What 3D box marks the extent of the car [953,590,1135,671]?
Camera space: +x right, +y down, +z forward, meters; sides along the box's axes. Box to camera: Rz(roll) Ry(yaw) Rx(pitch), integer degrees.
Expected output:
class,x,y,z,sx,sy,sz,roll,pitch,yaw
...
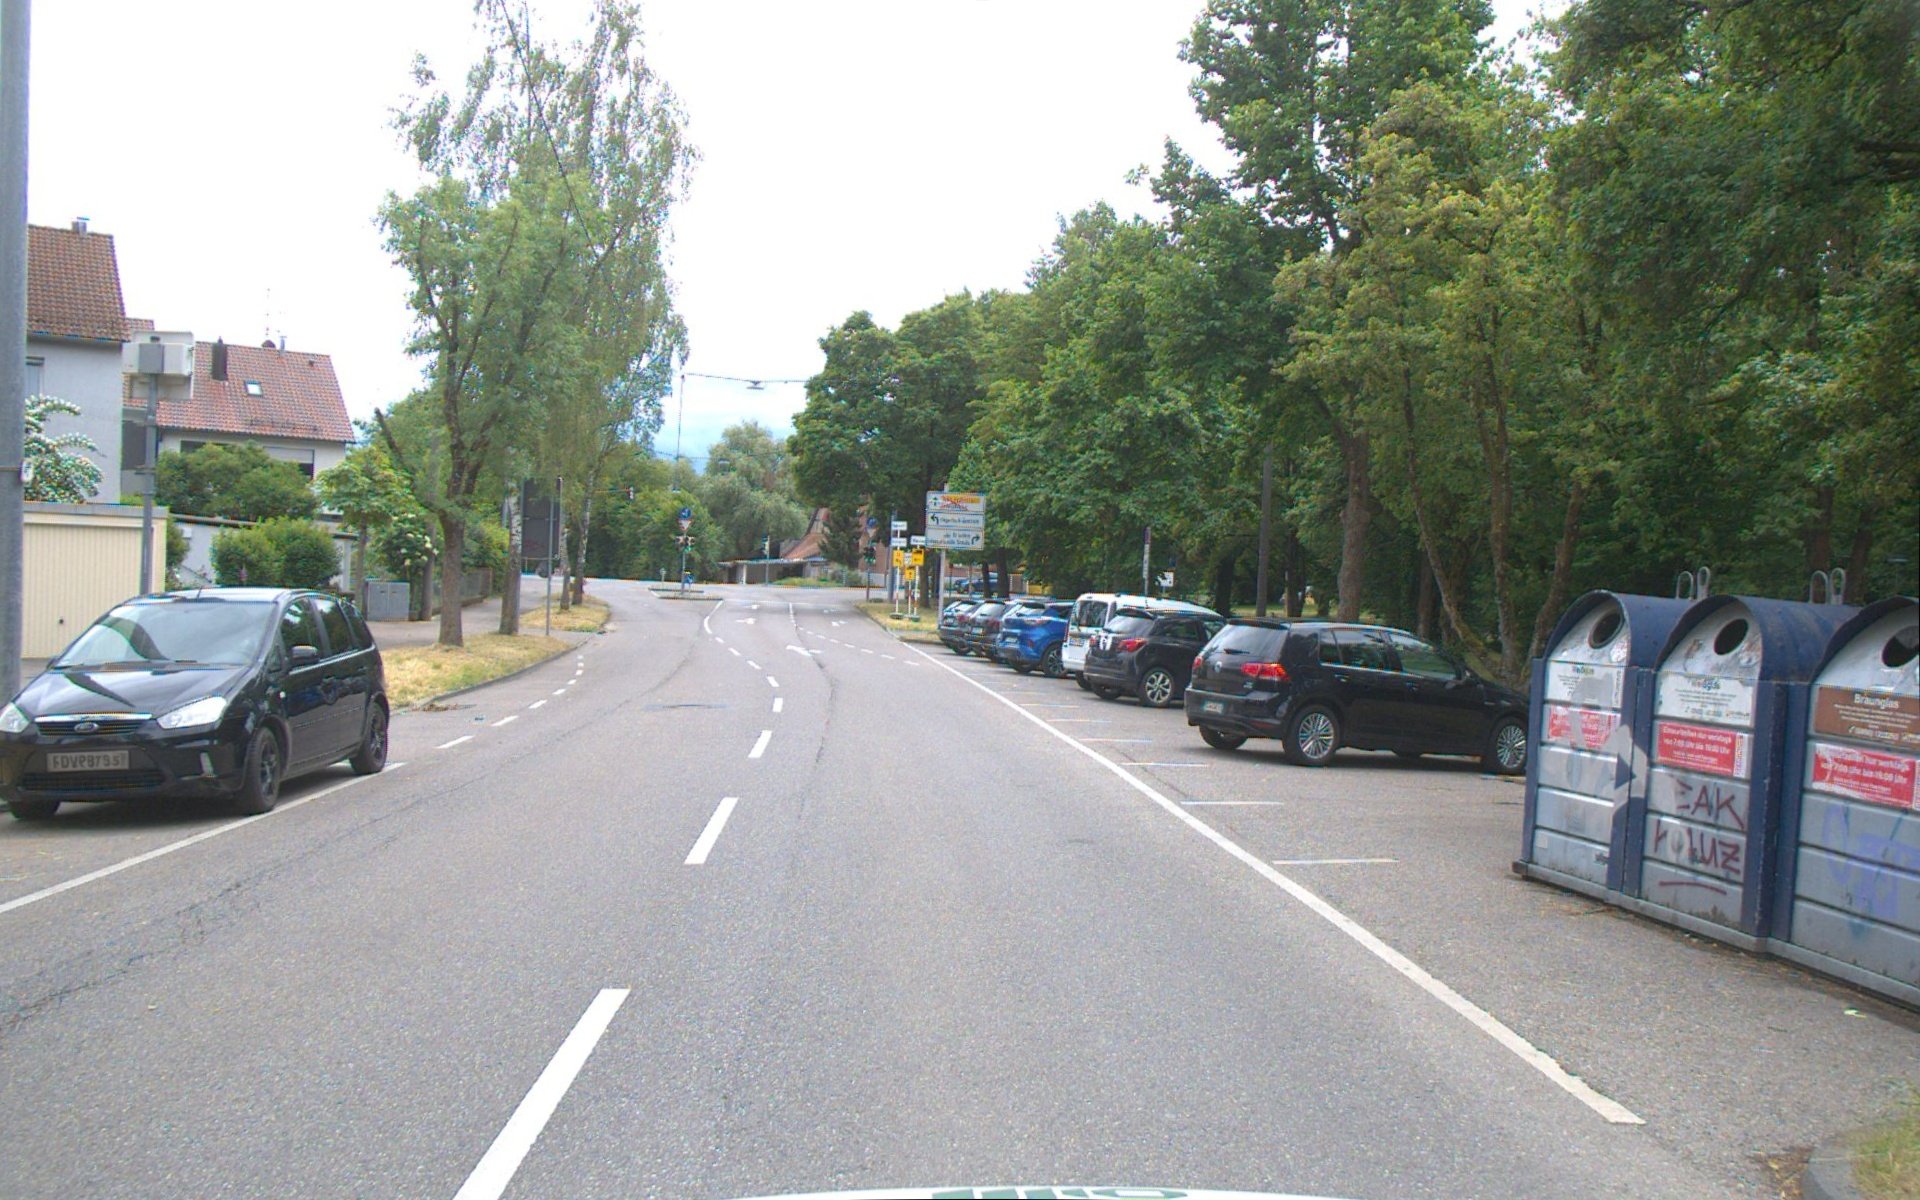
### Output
class,x,y,z,sx,sy,sz,roll,pitch,yaw
car,1.951,0.704,38.365,3.770,1.555,1.733,5,-1,-25

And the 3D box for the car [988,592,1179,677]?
class,x,y,z,sx,sy,sz,roll,pitch,yaw
car,2.730,0.754,36.440,3.770,1.555,1.733,5,-1,-25

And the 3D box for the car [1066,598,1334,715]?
class,x,y,z,sx,sy,sz,roll,pitch,yaw
car,3.777,0.885,26.010,3.770,1.493,1.733,5,0,-25

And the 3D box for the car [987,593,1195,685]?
class,x,y,z,sx,sy,sz,roll,pitch,yaw
car,2.654,0.782,33.495,3.770,1.555,1.733,5,-1,-25

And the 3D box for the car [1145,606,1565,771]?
class,x,y,z,sx,sy,sz,roll,pitch,yaw
car,4.238,0.947,17.767,3.936,1.438,2.042,5,-1,-25

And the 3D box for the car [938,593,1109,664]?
class,x,y,z,sx,sy,sz,roll,pitch,yaw
car,1.593,0.719,41.435,3.824,1.451,1.816,5,-1,-25

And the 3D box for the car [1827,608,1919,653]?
class,x,y,z,sx,sy,sz,roll,pitch,yaw
car,31.550,1.038,55.540,3.905,1.434,1.800,2,0,0

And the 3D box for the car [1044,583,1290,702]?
class,x,y,z,sx,sy,sz,roll,pitch,yaw
car,3.596,0.745,28.794,3.770,1.750,1.864,5,-1,-25

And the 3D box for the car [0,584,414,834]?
class,x,y,z,sx,sy,sz,roll,pitch,yaw
car,-5.750,0.714,12.915,1.769,1.590,4.264,-1,0,-4
